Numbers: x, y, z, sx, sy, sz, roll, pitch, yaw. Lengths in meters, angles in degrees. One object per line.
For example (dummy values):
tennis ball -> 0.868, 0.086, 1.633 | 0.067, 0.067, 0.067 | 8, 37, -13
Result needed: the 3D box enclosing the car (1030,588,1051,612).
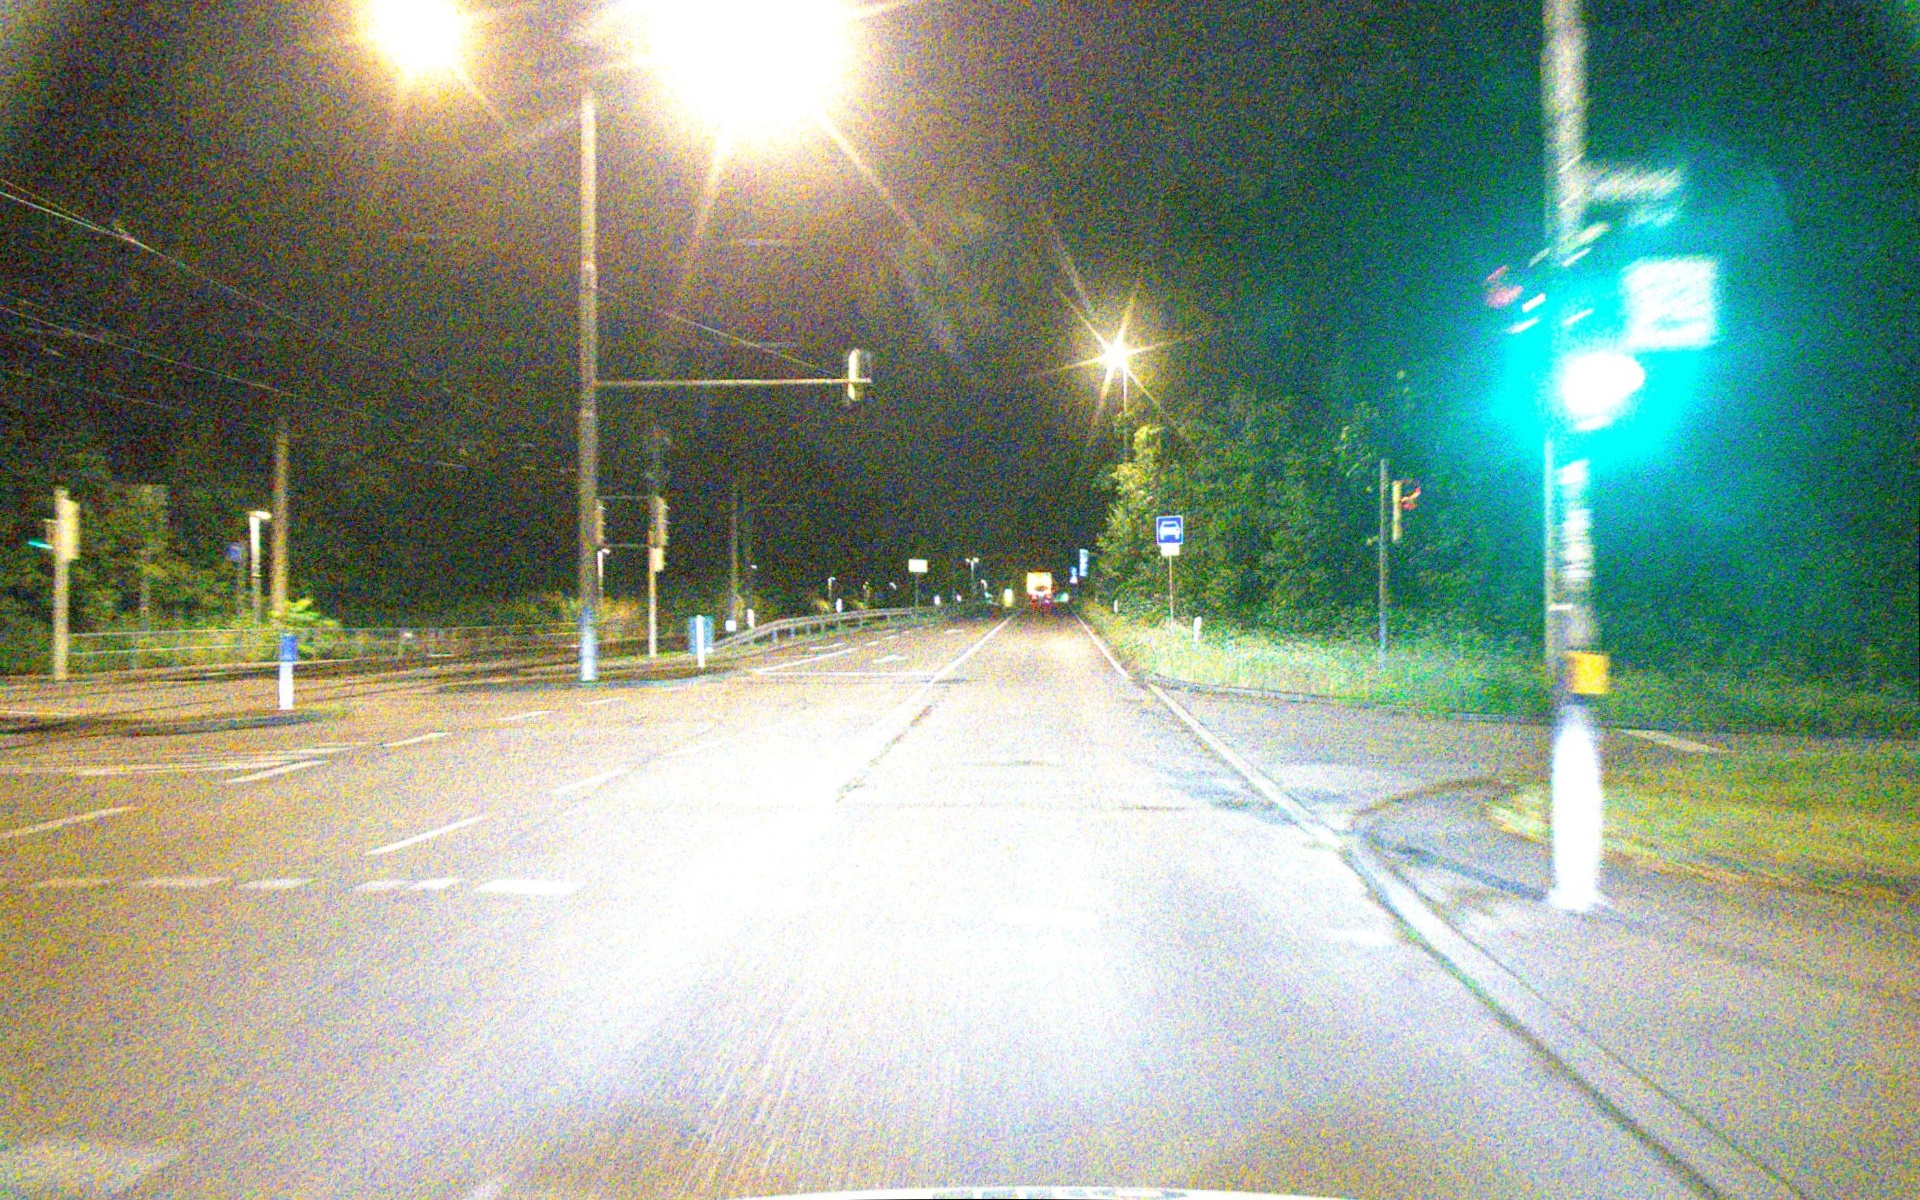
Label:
car -> 7.503, 0.053, 154.139 | 1.952, 2.049, 4.000 | 1, -2, 2
